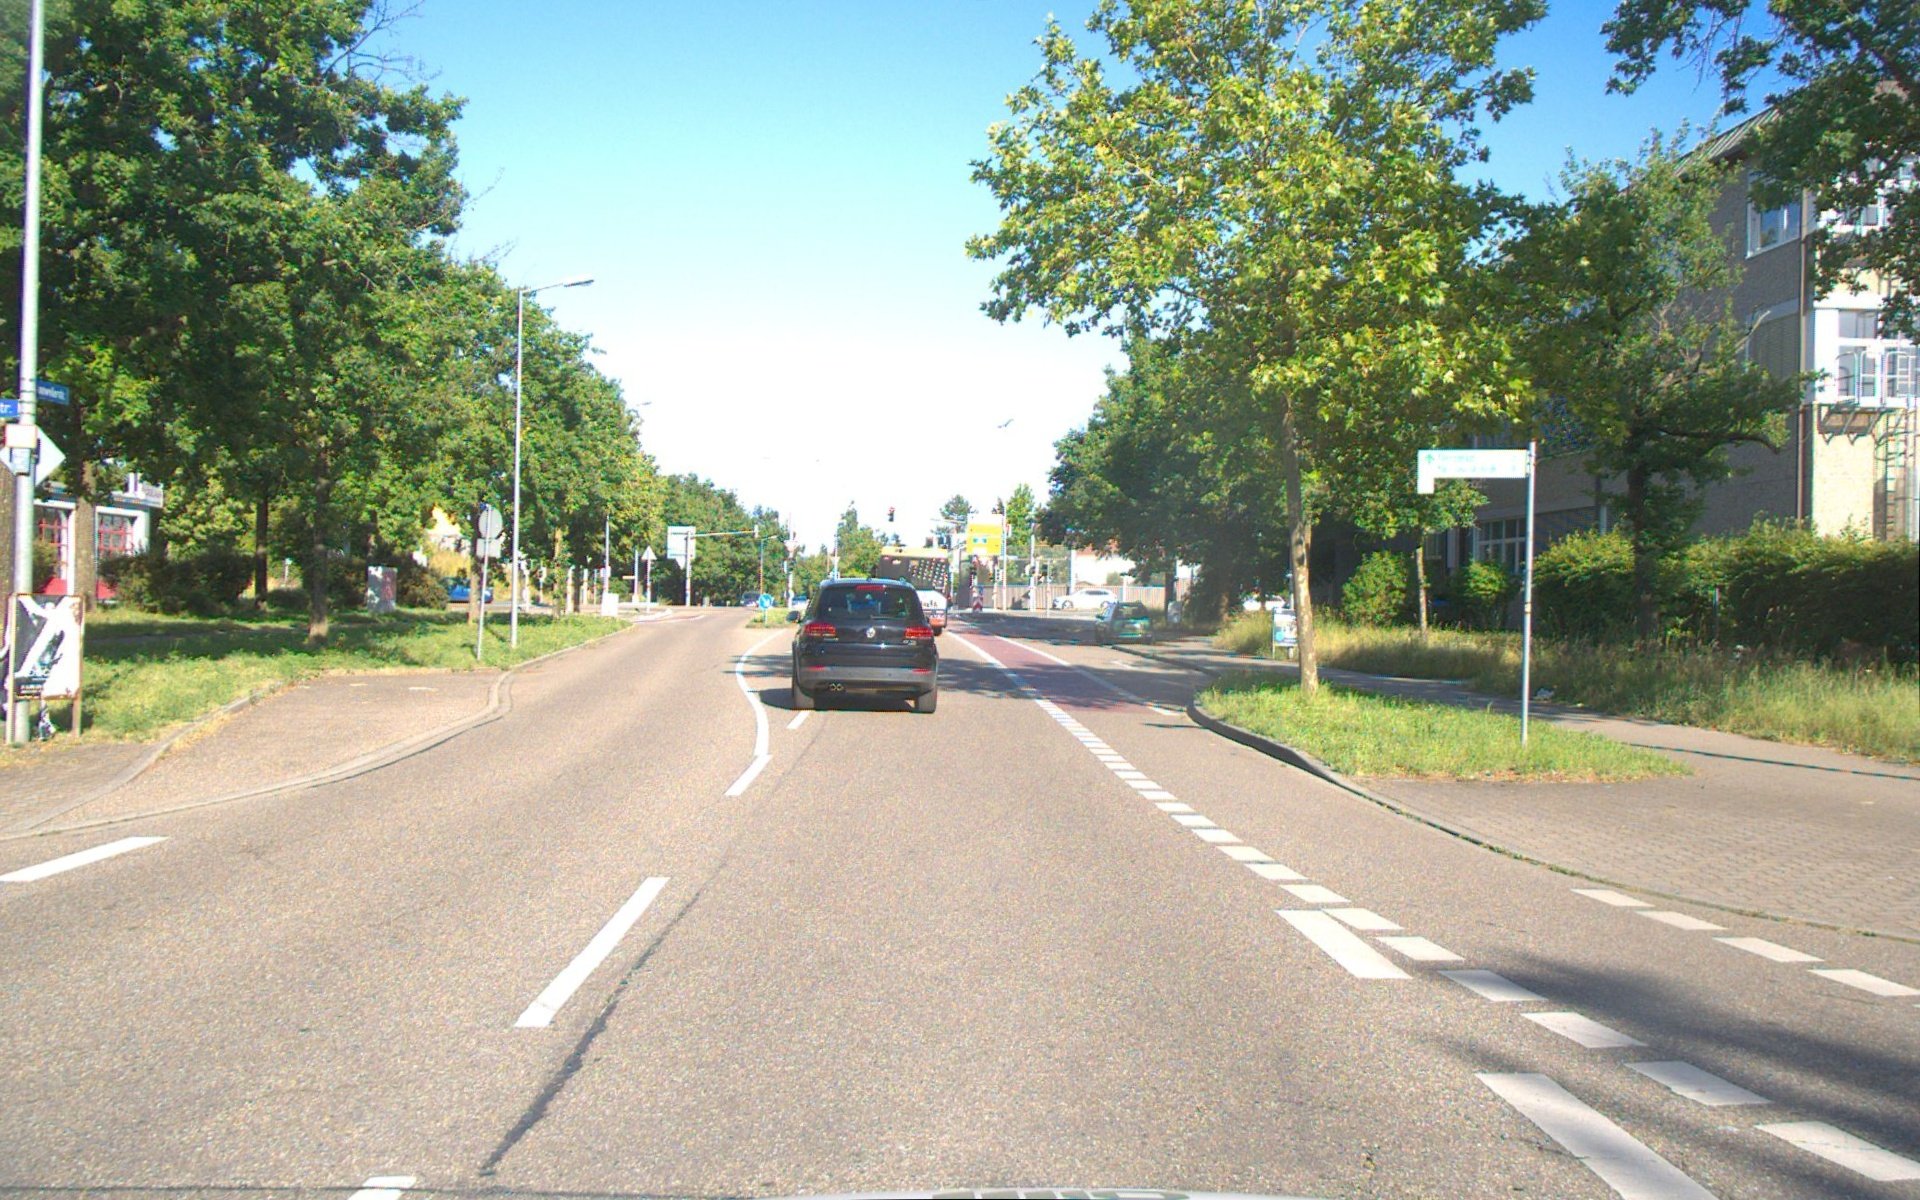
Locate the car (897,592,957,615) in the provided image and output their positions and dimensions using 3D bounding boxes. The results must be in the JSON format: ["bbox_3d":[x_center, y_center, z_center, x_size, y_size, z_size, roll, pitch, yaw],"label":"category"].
[{"bbox_3d":[-2.282,0.252,113.020,3.822,1.363,1.678,2,-1,-12],"label":"car"}]

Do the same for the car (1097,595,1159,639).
[{"bbox_3d":[5.753,0.573,57.013,1.560,1.453,4.202,0,0,-2],"label":"car"}]

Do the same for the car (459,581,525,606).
[{"bbox_3d":[-29.070,-0.398,102.896,3.778,1.409,1.678,2,-1,-12],"label":"car"}]

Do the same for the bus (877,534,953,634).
[{"bbox_3d":[-1.853,-0.624,63.855,2.544,3.392,11.977,2,0,-3],"label":"bus"}]

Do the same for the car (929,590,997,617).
[{"bbox_3d":[0.169,0.166,87.548,3.448,1.325,1.576,2,0,6],"label":"car"}]

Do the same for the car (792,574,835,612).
[{"bbox_3d":[-6.672,-0.298,75.090,1.721,1.648,4.025,1,0,-9],"label":"car"}]

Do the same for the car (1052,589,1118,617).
[{"bbox_3d":[8.644,0.216,114.559,4.300,1.713,1.709,2,-1,-7],"label":"car"}]

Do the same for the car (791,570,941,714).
[{"bbox_3d":[-1.153,0.523,21.939,1.784,1.703,4.002,1,-1,-1],"label":"car"}]
